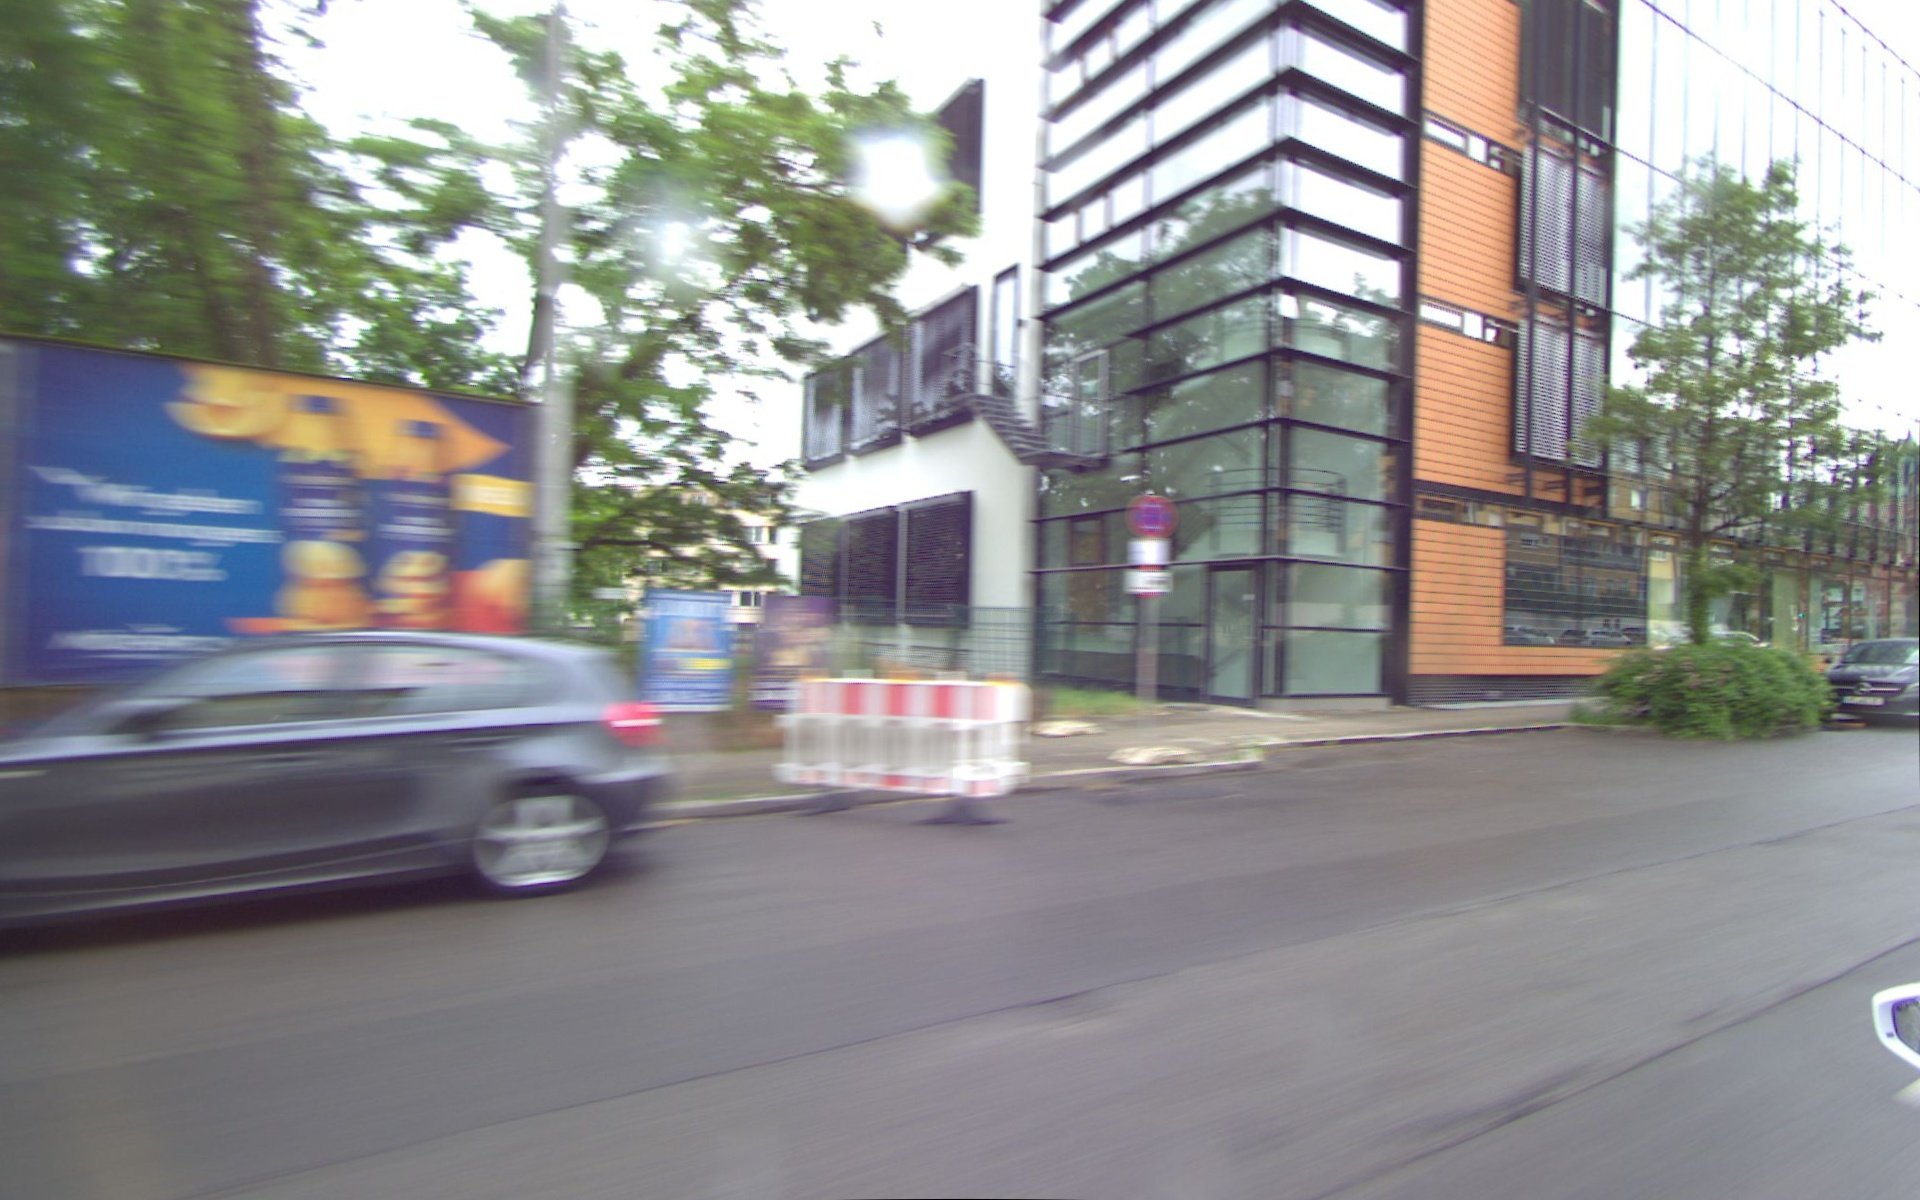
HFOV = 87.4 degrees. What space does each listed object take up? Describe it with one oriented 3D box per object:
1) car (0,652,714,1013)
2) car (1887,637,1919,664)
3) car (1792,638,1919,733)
[{"bbox_3d":[-3.652,1.005,5.240,4.297,1.394,1.714,1,-2,-33],"label":"car"},{"bbox_3d":[59.028,3.067,60.772,3.922,1.530,1.799,0,0,22],"label":"car"},{"bbox_3d":[16.741,1.429,17.795,4.608,1.470,1.793,2,-2,-33],"label":"car"}]
